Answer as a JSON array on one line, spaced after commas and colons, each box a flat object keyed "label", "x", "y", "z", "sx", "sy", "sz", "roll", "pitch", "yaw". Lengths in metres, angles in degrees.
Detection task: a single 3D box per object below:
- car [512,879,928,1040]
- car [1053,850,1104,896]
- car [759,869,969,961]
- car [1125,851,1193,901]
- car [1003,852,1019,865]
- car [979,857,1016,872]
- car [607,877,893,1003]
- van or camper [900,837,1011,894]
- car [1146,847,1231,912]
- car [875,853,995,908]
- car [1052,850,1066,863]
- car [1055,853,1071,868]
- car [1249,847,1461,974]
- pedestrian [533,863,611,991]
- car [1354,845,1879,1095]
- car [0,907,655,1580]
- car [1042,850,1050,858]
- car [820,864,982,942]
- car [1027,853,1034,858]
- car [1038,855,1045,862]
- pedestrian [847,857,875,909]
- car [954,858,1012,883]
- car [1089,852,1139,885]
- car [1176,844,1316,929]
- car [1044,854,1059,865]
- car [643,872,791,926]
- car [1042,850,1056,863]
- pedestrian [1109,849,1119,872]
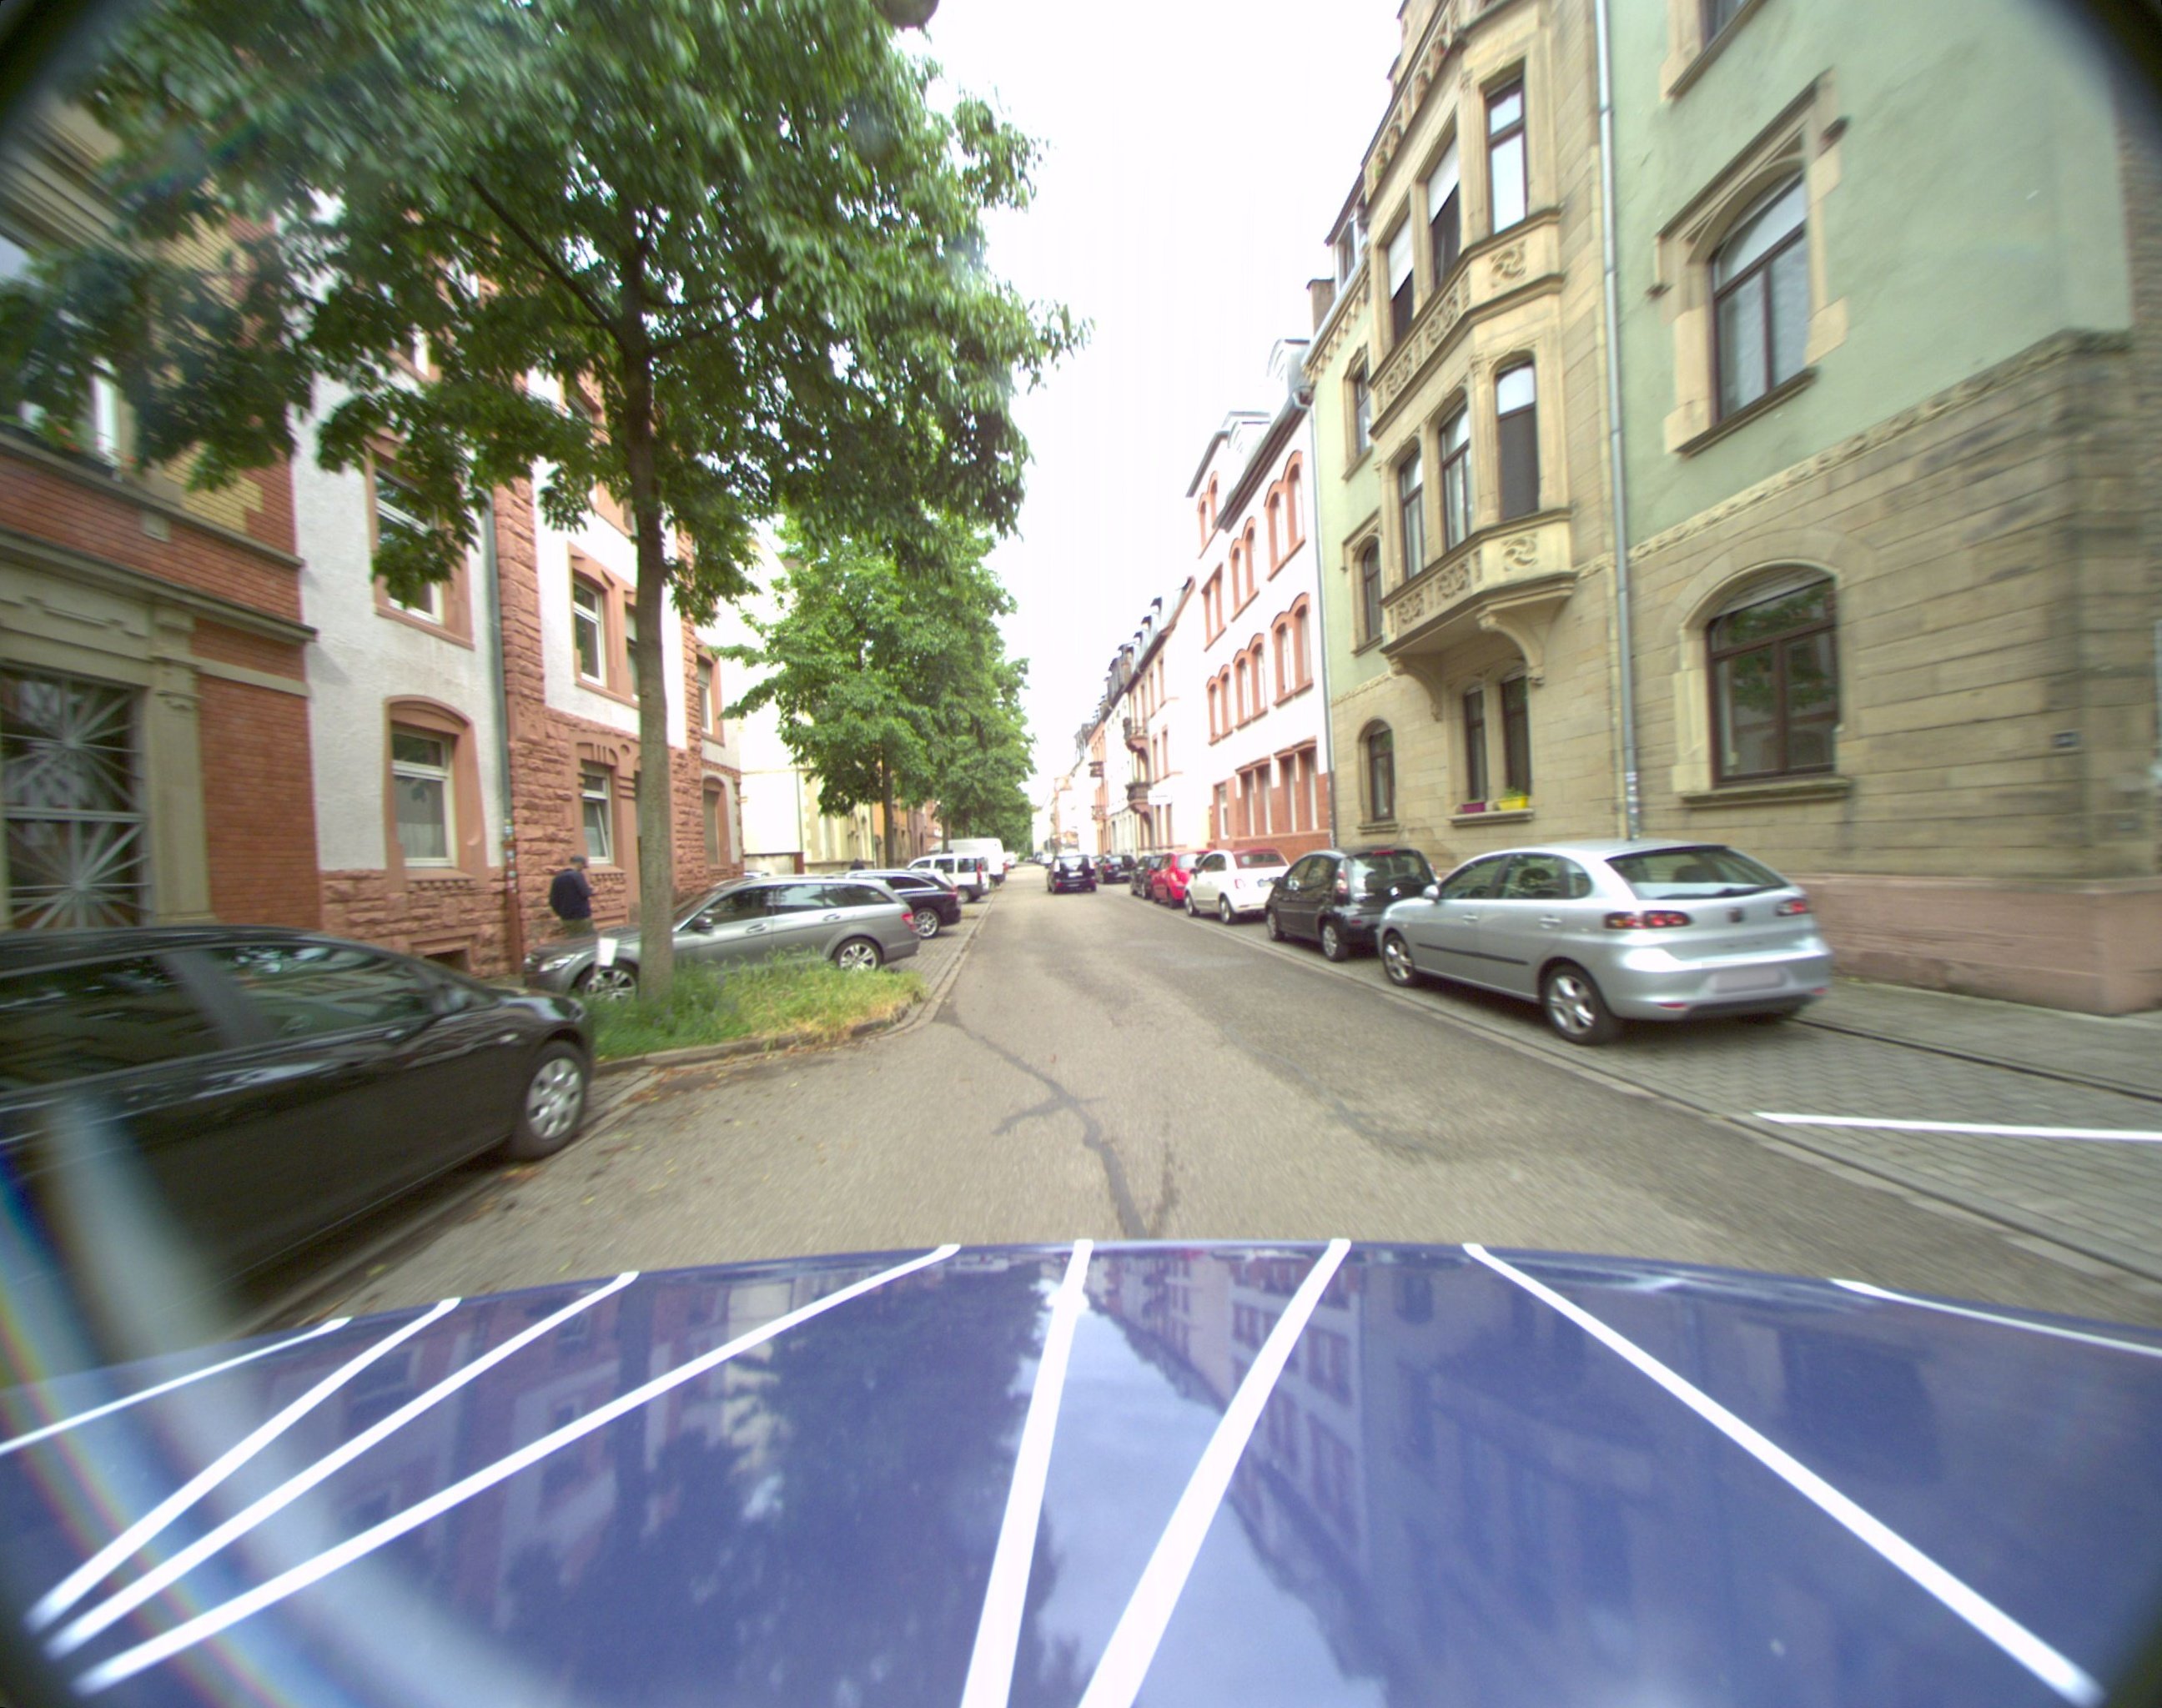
[{"label": "car", "x": -4.380, "y": 1.118, "z": 9.617, "sx": 4.453, "sy": 1.419, "sz": 1.754, "roll": -1, "pitch": 0, "yaw": -38}, {"label": "car", "x": -0.176, "y": 0.724, "z": 31.301, "sx": 1.814, "sy": 1.621, "sz": 4.206, "roll": -3, "pitch": 1, "yaw": -3}, {"label": "car", "x": -4.376, "y": 1.153, "z": 15.504, "sx": 3.700, "sy": 1.458, "sz": 1.701, "roll": -3, "pitch": 1, "yaw": -36}, {"label": "car", "x": 2.504, "y": 0.672, "z": 25.150, "sx": 1.469, "sy": 1.408, "sz": 3.916, "roll": -5, "pitch": 0, "yaw": -4}, {"label": "car", "x": -10.063, "y": 0.644, "z": 110.125, "sx": 1.999, "sy": 1.739, "sz": 3.999, "roll": -4, "pitch": 0, "yaw": -2}, {"label": "car", "x": -9.160, "y": 1.161, "z": 83.314, "sx": 3.608, "sy": 1.458, "sz": 1.628, "roll": -4, "pitch": 0, "yaw": -18}, {"label": "car", "x": -5.249, "y": 1.233, "z": 12.233, "sx": 3.890, "sy": 1.428, "sz": 1.741, "roll": -3, "pitch": 3, "yaw": -35}, {"label": "van or camper", "x": -6.351, "y": 0.555, "z": 38.665, "sx": 5.077, "sy": 2.576, "sz": 2.069, "roll": -3, "pitch": 1, "yaw": -35}, {"label": "car", "x": 2.867, "y": 0.639, "z": 20.869, "sx": 1.469, "sy": 1.521, "sz": 3.567, "roll": -5, "pitch": 0, "yaw": -4}, {"label": "car", "x": -5.393, "y": 0.974, "z": 28.335, "sx": 3.995, "sy": 1.801, "sz": 1.721, "roll": -3, "pitch": 1, "yaw": 7}, {"label": "car", "x": -2.626, "y": 0.289, "z": 91.233, "sx": 1.457, "sy": 1.401, "sz": 3.809, "roll": -5, "pitch": 0, "yaw": -3}, {"label": "car", "x": -1.962, "y": 0.691, "z": 81.823, "sx": 1.457, "sy": 1.401, "sz": 3.809, "roll": -5, "pitch": 0, "yaw": -3}, {"label": "car", "x": 3.742, "y": 0.695, "z": 11.009, "sx": 1.521, "sy": 1.425, "sz": 3.454, "roll": -5, "pitch": 0, "yaw": -4}, {"label": "pedestrian", "x": -7.201, "y": 1.008, "z": 10.780, "sx": 0.599, "sy": 1.723, "sz": 0.663, "roll": -3, "pitch": 1, "yaw": -6}, {"label": "car", "x": 4.070, "y": 0.730, "z": 6.665, "sx": 1.594, "sy": 1.425, "sz": 3.808, "roll": -5, "pitch": 0, "yaw": -6}, {"label": "car", "x": -3.751, "y": 1.131, "z": 3.083, "sx": 1.769, "sy": 1.477, "sz": 4.477, "roll": -1, "pitch": 0, "yaw": -5}, {"label": "car", "x": -6.552, "y": 0.053, "z": 142.053, "sx": 1.457, "sy": 1.401, "sz": 3.809, "roll": -5, "pitch": 0, "yaw": -3}, {"label": "car", "x": -4.450, "y": 1.146, "z": 18.783, "sx": 3.473, "sy": 1.554, "sz": 1.783, "roll": -4, "pitch": 0, "yaw": -27}, {"label": "car", "x": -15.137, "y": 0.349, "z": 228.734, "sx": 1.458, "sy": 1.401, "sz": 3.806, "roll": -3, "pitch": 0, "yaw": -13}, {"label": "car", "x": -8.383, "y": 0.980, "z": 161.936, "sx": 1.457, "sy": 1.401, "sz": 3.809, "roll": -5, "pitch": 0, "yaw": -3}, {"label": "pedestrian", "x": -7.816, "y": 1.017, "z": 27.026, "sx": 0.703, "sy": 1.801, "sz": 0.816, "roll": -4, "pitch": 1, "yaw": -4}, {"label": "car", "x": -6.861, "y": 1.153, "z": 53.377, "sx": 3.612, "sy": 1.458, "sz": 1.626, "roll": -4, "pitch": 1, "yaw": -36}, {"label": "car", "x": 1.552, "y": 0.672, "z": 37.126, "sx": 1.905, "sy": 1.382, "sz": 3.998, "roll": -4, "pitch": 0, "yaw": -4}, {"label": "car", "x": 3.371, "y": 0.626, "z": 16.219, "sx": 1.671, "sy": 1.502, "sz": 3.551, "roll": -4, "pitch": 0, "yaw": -9}, {"label": "car", "x": -4.483, "y": 0.771, "z": 113.477, "sx": 2.083, "sy": 1.446, "sz": 4.251, "roll": -5, "pitch": 0, "yaw": -3}, {"label": "car", "x": -11.876, "y": 1.447, "z": 24.968, "sx": 3.999, "sy": 1.445, "sz": 1.609, "roll": -3, "pitch": 1, "yaw": -5}, {"label": "car", "x": -5.350, "y": 0.430, "z": 125.211, "sx": 2.053, "sy": 2.071, "sz": 3.809, "roll": -5, "pitch": 0, "yaw": -3}, {"label": "pedestrian", "x": 2.292, "y": 0.462, "z": 52.874, "sx": 0.578, "sy": 1.599, "sz": 0.544, "roll": -4, "pitch": 1, "yaw": -5}]
